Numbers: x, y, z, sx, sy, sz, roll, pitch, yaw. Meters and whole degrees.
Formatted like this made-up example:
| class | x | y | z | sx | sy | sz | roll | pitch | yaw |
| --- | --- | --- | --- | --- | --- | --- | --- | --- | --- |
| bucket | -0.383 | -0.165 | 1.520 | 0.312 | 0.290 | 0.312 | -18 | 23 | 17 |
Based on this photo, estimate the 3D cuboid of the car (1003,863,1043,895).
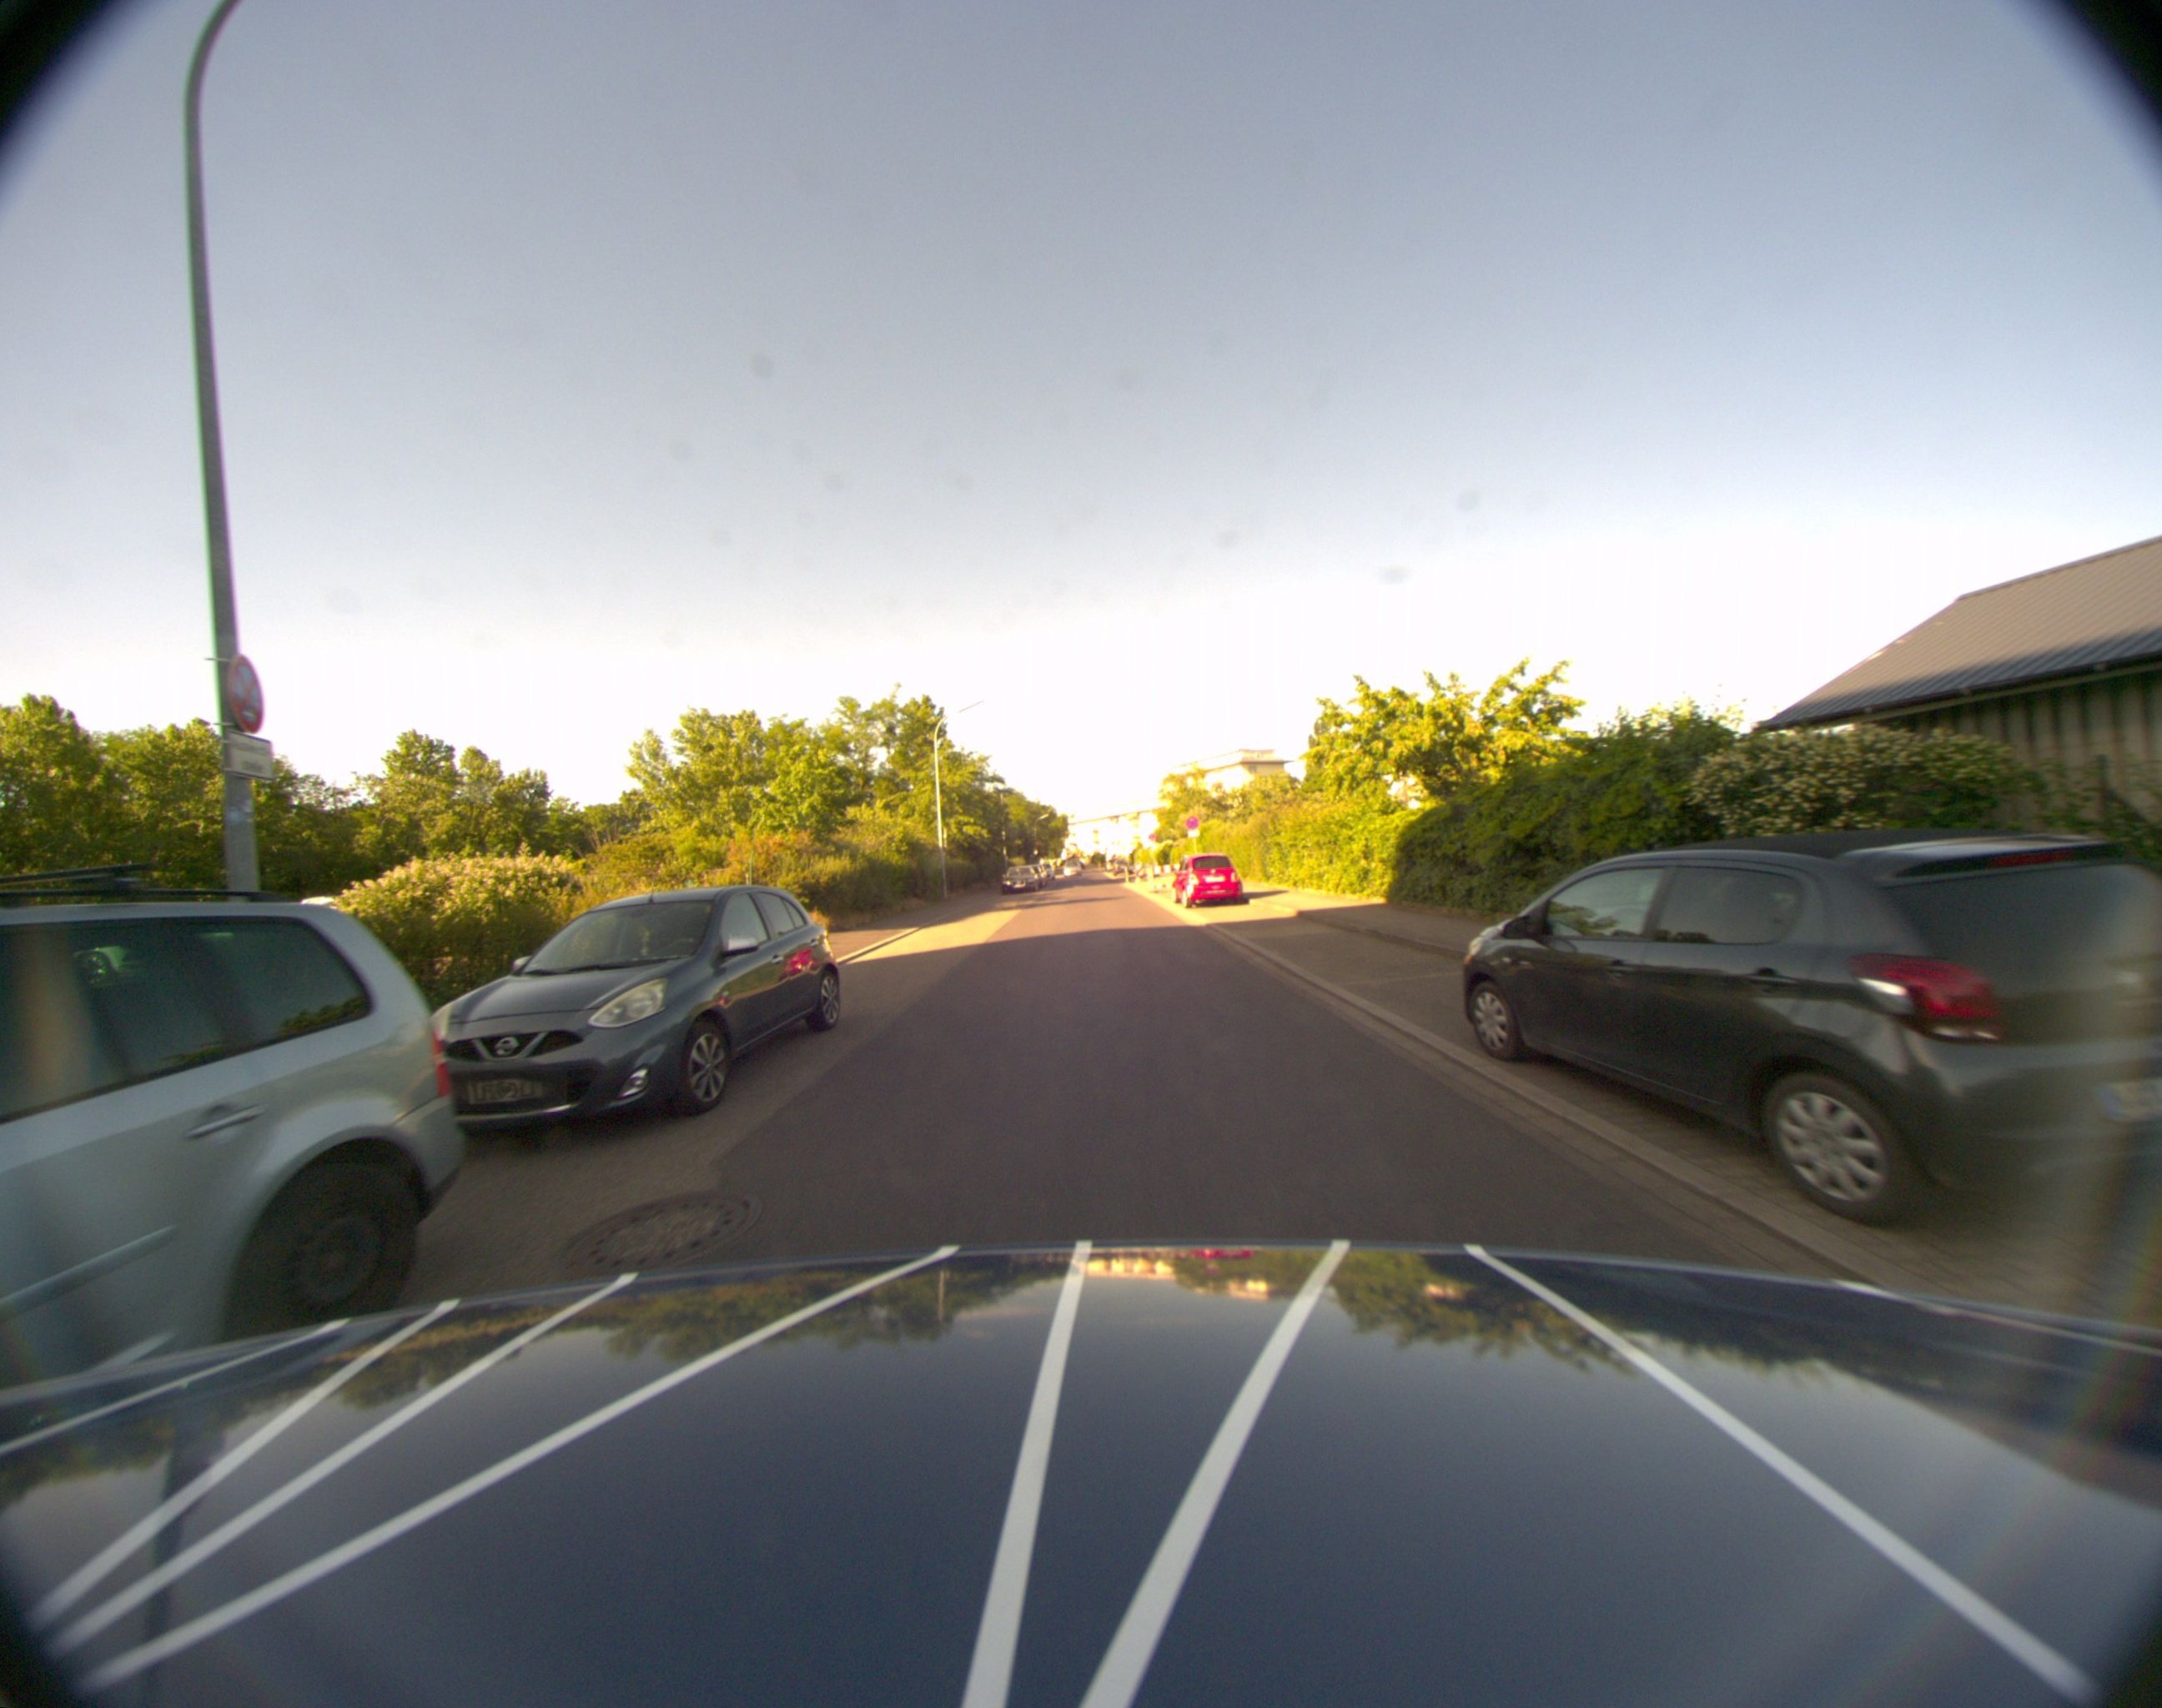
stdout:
| class | x | y | z | sx | sy | sz | roll | pitch | yaw |
| --- | --- | --- | --- | --- | --- | --- | --- | --- | --- |
| car | -3.153 | 1.330 | 41.959 | 1.758 | 1.405 | 4.656 | -6 | 0 | -1 |

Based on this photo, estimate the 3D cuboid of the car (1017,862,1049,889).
| class | x | y | z | sx | sy | sz | roll | pitch | yaw |
| --- | --- | --- | --- | --- | --- | --- | --- | --- | --- |
| car | -3.011 | 1.329 | 48.286 | 1.659 | 1.436 | 4.656 | -6 | 0 | 0 |

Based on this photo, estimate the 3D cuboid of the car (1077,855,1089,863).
| class | x | y | z | sx | sy | sz | roll | pitch | yaw |
| --- | --- | --- | --- | --- | --- | --- | --- | --- | --- |
| car | 0.325 | 0.945 | 145.362 | 1.732 | 1.455 | 4.681 | -3 | -1 | -5 |

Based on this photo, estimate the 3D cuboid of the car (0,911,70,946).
| class | x | y | z | sx | sy | sz | roll | pitch | yaw |
| --- | --- | --- | --- | --- | --- | --- | --- | --- | --- |
| car | -50.391 | 3.502 | 35.524 | 3.886 | 1.413 | 1.839 | -2 | 0 | 3 |

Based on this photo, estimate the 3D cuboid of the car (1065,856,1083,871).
| class | x | y | z | sx | sy | sz | roll | pitch | yaw |
| --- | --- | --- | --- | --- | --- | --- | --- | --- | --- |
| car | -0.673 | 0.977 | 76.598 | 1.596 | 1.417 | 4.171 | -1 | 0 | 1 |

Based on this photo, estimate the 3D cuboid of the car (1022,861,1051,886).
| class | x | y | z | sx | sy | sz | roll | pitch | yaw |
| --- | --- | --- | --- | --- | --- | --- | --- | --- | --- |
| car | -3.115 | 1.352 | 53.947 | 1.659 | 1.477 | 3.838 | -6 | 0 | 0 |

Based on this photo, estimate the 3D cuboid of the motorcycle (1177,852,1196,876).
| class | x | y | z | sx | sy | sz | roll | pitch | yaw |
| --- | --- | --- | --- | --- | --- | --- | --- | --- | --- |
| motorcycle | 6.052 | 0.561 | 43.553 | 0.568 | 1.261 | 2.090 | -5 | 1 | -4 |

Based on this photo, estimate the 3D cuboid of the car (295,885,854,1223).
| class | x | y | z | sx | sy | sz | roll | pitch | yaw |
| --- | --- | --- | --- | --- | --- | --- | --- | --- | --- |
| car | -3.329 | 1.170 | 6.062 | 1.626 | 1.517 | 3.901 | -6 | 0 | 1 |

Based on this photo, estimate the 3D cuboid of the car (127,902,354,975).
| class | x | y | z | sx | sy | sz | roll | pitch | yaw |
| --- | --- | --- | --- | --- | --- | --- | --- | --- | --- |
| car | -21.086 | 2.095 | 19.157 | 3.886 | 1.430 | 1.689 | -3 | 0 | 3 |

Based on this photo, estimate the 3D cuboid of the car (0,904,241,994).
| class | x | y | z | sx | sy | sz | roll | pitch | yaw |
| --- | --- | --- | --- | --- | --- | --- | --- | --- | --- |
| car | -21.166 | 2.034 | 16.509 | 3.915 | 1.578 | 1.755 | -3 | 0 | 3 |

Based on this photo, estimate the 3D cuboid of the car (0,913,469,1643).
| class | x | y | z | sx | sy | sz | roll | pitch | yaw |
| --- | --- | --- | --- | --- | --- | --- | --- | --- | --- |
| car | -3.418 | 1.118 | 1.014 | 1.681 | 1.599 | 4.178 | -6 | 0 | 0 |

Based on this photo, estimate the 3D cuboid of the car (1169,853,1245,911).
| class | x | y | z | sx | sy | sz | roll | pitch | yaw |
| --- | --- | --- | --- | --- | --- | --- | --- | --- | --- |
| car | 3.621 | 0.750 | 22.368 | 1.563 | 1.486 | 3.570 | -3 | 0 | 0 |

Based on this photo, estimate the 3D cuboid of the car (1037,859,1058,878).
| class | x | y | z | sx | sy | sz | roll | pitch | yaw |
| --- | --- | --- | --- | --- | --- | --- | --- | --- | --- |
| car | -2.989 | 1.319 | 69.091 | 1.560 | 1.529 | 3.555 | -6 | 0 | 0 |

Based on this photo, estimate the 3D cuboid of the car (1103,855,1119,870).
| class | x | y | z | sx | sy | sz | roll | pitch | yaw |
| --- | --- | --- | --- | --- | --- | --- | --- | --- | --- |
| car | 3.395 | 0.945 | 86.651 | 1.647 | 1.590 | 4.312 | -5 | 0 | 2 |

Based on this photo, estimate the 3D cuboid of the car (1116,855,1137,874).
| class | x | y | z | sx | sy | sz | roll | pitch | yaw |
| --- | --- | --- | --- | --- | --- | --- | --- | --- | --- |
| car | 4.110 | 0.938 | 69.004 | 1.647 | 1.547 | 4.417 | -3 | 0 | 0 |

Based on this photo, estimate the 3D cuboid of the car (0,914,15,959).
| class | x | y | z | sx | sy | sz | roll | pitch | yaw |
| --- | --- | --- | --- | --- | --- | --- | --- | --- | --- |
| car | -37.838 | 2.834 | 24.775 | 3.886 | 1.457 | 1.689 | -2 | 0 | 3 |

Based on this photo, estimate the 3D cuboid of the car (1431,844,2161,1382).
| class | x | y | z | sx | sy | sz | roll | pitch | yaw |
| --- | --- | --- | --- | --- | --- | --- | --- | --- | --- |
| car | 3.553 | 0.783 | 4.089 | 1.563 | 1.486 | 3.570 | -6 | 0 | 0 |
